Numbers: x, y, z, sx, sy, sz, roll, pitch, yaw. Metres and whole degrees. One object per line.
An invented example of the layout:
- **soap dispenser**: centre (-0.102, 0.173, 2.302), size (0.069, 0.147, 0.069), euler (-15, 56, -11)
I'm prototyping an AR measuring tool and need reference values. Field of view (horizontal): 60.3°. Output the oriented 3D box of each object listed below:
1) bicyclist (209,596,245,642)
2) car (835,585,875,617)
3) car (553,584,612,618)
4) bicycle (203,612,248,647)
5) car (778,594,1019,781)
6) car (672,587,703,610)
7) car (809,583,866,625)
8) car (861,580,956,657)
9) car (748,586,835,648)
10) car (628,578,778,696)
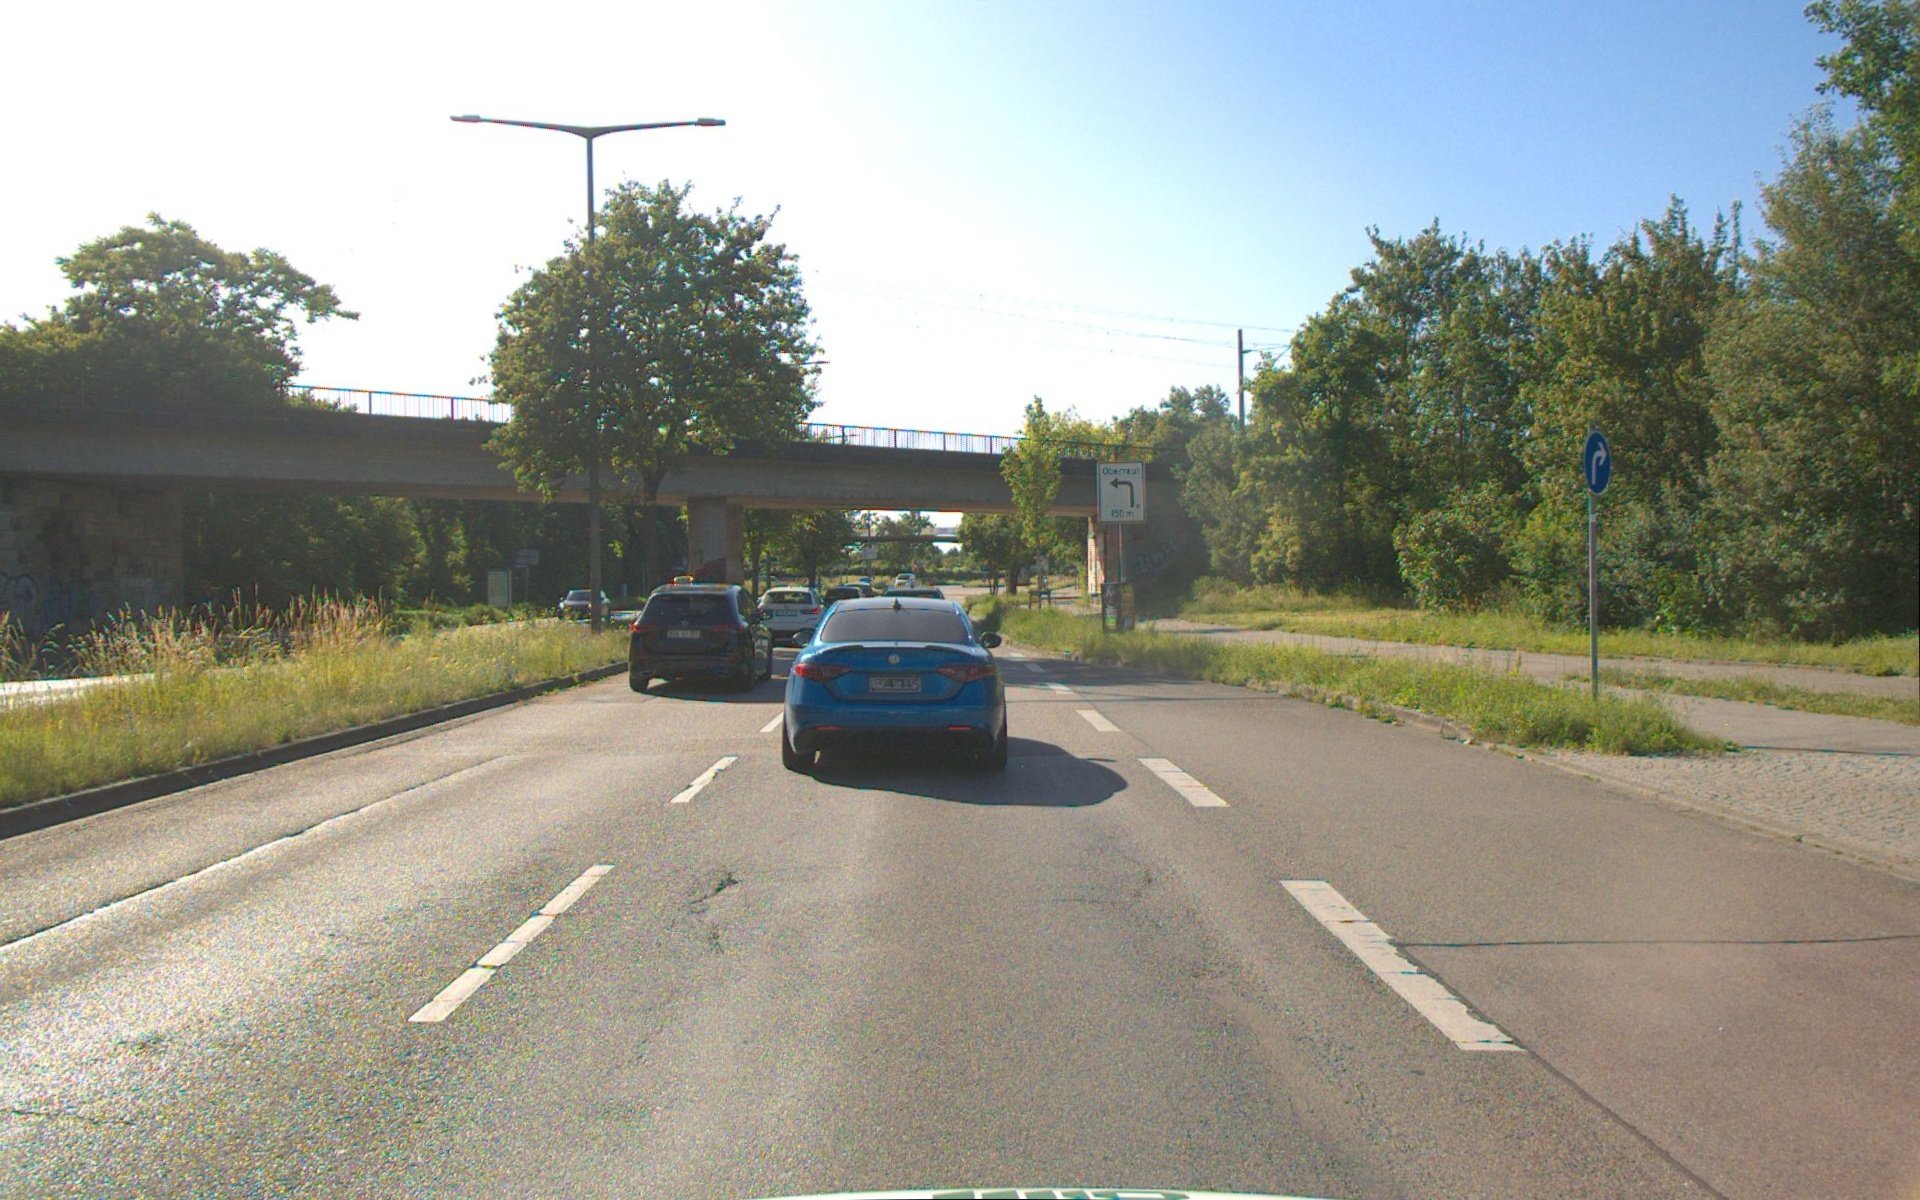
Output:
- **bicyclist**: centre (-23.123, 0.597, 52.178), size (0.666, 1.426, 1.026), euler (1, 0, -1)
- **car**: centre (-5.115, 0.013, 80.750), size (1.743, 1.479, 4.181), euler (-1, 1, -1)
- **car**: centre (-17.089, 0.027, 74.979), size (1.779, 1.467, 4.088), euler (-1, 0, -1)
- **bicycle**: centre (-23.131, 0.919, 52.138), size (0.669, 1.048, 1.714), euler (1, 0, -1)
- **car**: centre (-0.509, 0.673, 14.865), size (1.845, 1.431, 4.223), euler (1, 0, -1)
- **car**: centre (-20.539, -0.150, 124.882), size (1.694, 1.645, 4.179), euler (-2, 0, -1)
- **car**: centre (-4.485, 0.133, 61.130), size (1.845, 1.479, 4.525), euler (1, 0, -1)
- **car**: centre (-1.053, 0.360, 34.609), size (1.845, 1.479, 4.525), euler (1, 0, -1)
- **car**: centre (-4.299, 0.413, 42.756), size (1.845, 1.479, 4.525), euler (1, 0, -1)
- **car**: centre (-3.794, 0.510, 25.068), size (1.673, 1.626, 4.223), euler (1, 0, -1)
